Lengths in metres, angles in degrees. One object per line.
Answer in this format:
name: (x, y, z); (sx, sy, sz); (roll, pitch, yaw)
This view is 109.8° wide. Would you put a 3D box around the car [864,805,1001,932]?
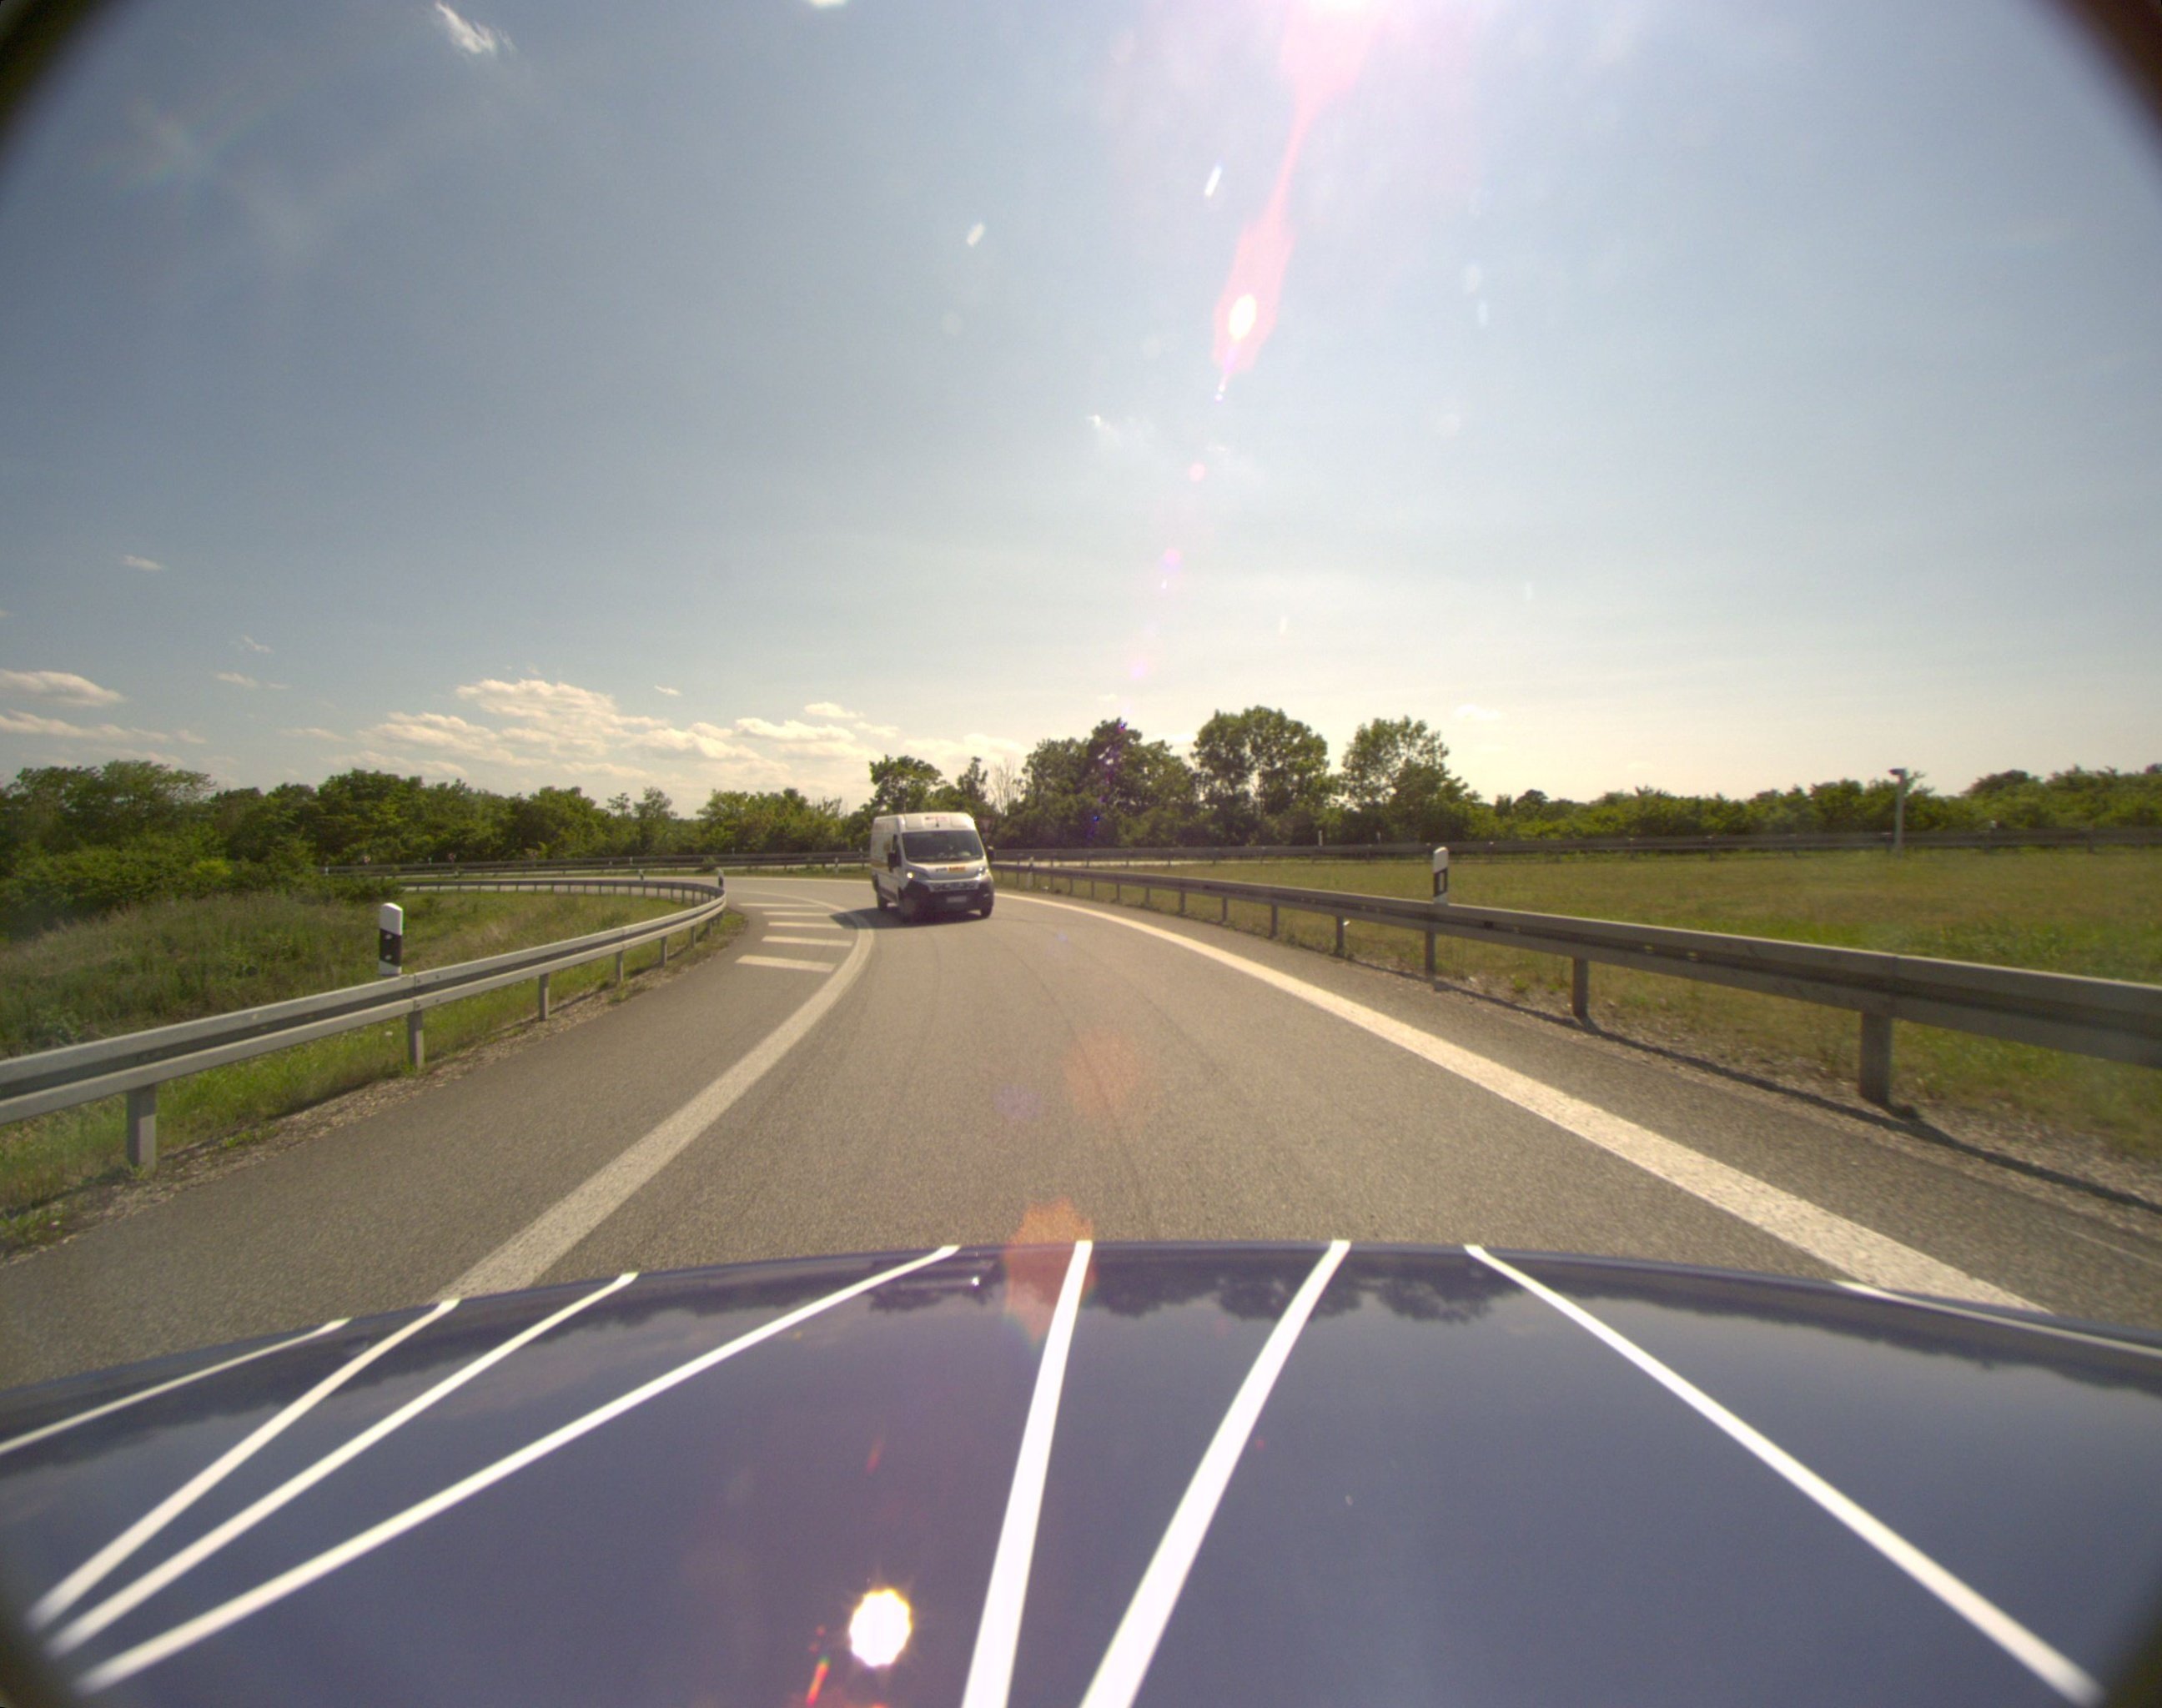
car: (-3.942, 0.183, 19.059); (2.090, 2.511, 6.223); (-6, 4, -21)
